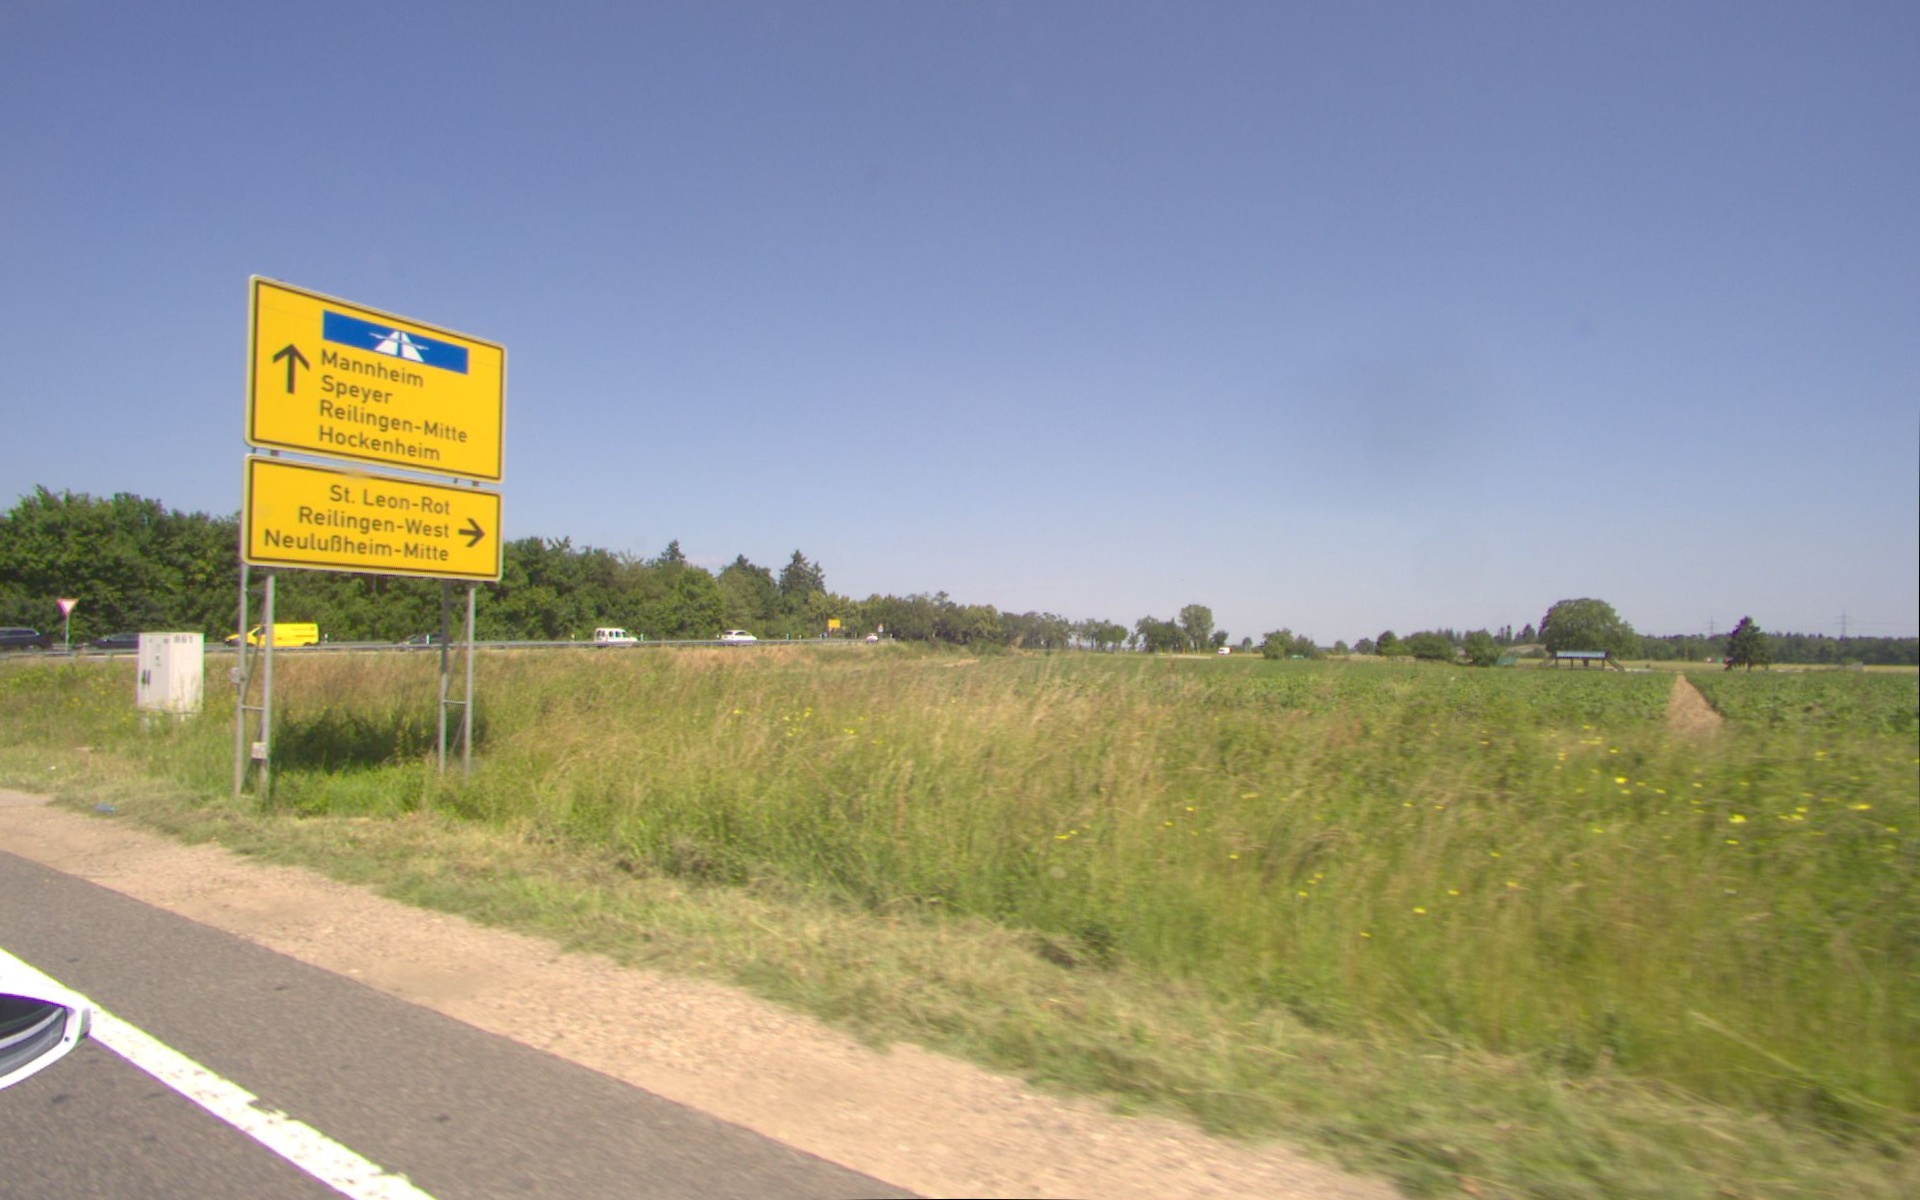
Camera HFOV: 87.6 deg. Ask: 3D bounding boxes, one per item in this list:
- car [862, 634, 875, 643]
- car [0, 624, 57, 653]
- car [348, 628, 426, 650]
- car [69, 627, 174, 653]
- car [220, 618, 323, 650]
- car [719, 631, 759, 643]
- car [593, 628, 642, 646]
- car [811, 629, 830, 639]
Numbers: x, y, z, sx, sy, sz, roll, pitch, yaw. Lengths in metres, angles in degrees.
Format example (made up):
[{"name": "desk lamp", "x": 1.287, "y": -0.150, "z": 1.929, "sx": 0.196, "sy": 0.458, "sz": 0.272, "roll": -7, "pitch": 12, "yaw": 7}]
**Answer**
[{"name": "car", "x": -12.609, "y": 5.261, "z": 137.345, "sx": 1.684, "sy": 1.204, "sz": 4.000, "roll": 0, "pitch": -2, "yaw": -7}, {"name": "car", "x": -53.285, "y": 2.124, "z": 55.550, "sx": 1.744, "sy": 1.618, "sz": 4.475, "roll": -1, "pitch": -2, "yaw": 35}, {"name": "car", "x": -41.786, "y": 2.825, "z": 73.131, "sx": 1.828, "sy": 1.533, "sz": 4.671, "roll": -1, "pitch": -2, "yaw": 34}, {"name": "car", "x": -51.274, "y": 2.436, "z": 61.304, "sx": 1.831, "sy": 1.533, "sz": 4.664, "roll": -2, "pitch": -2, "yaw": 39}, {"name": "car", "x": -45.763, "y": 2.283, "z": 66.711, "sx": 1.972, "sy": 2.039, "sz": 5.312, "roll": -1, "pitch": -2, "yaw": 33}, {"name": "car", "x": -22.227, "y": 3.696, "z": 100.879, "sx": 1.691, "sy": 1.204, "sz": 3.985, "roll": -1, "pitch": -2, "yaw": 28}, {"name": "car", "x": -29.804, "y": 3.236, "z": 87.333, "sx": 1.691, "sy": 1.589, "sz": 3.986, "roll": -1, "pitch": -2, "yaw": 28}, {"name": "car", "x": -22.138, "y": 5.393, "z": 158.750, "sx": 1.824, "sy": 1.533, "sz": 4.683, "roll": 1, "pitch": -2, "yaw": -24}]
